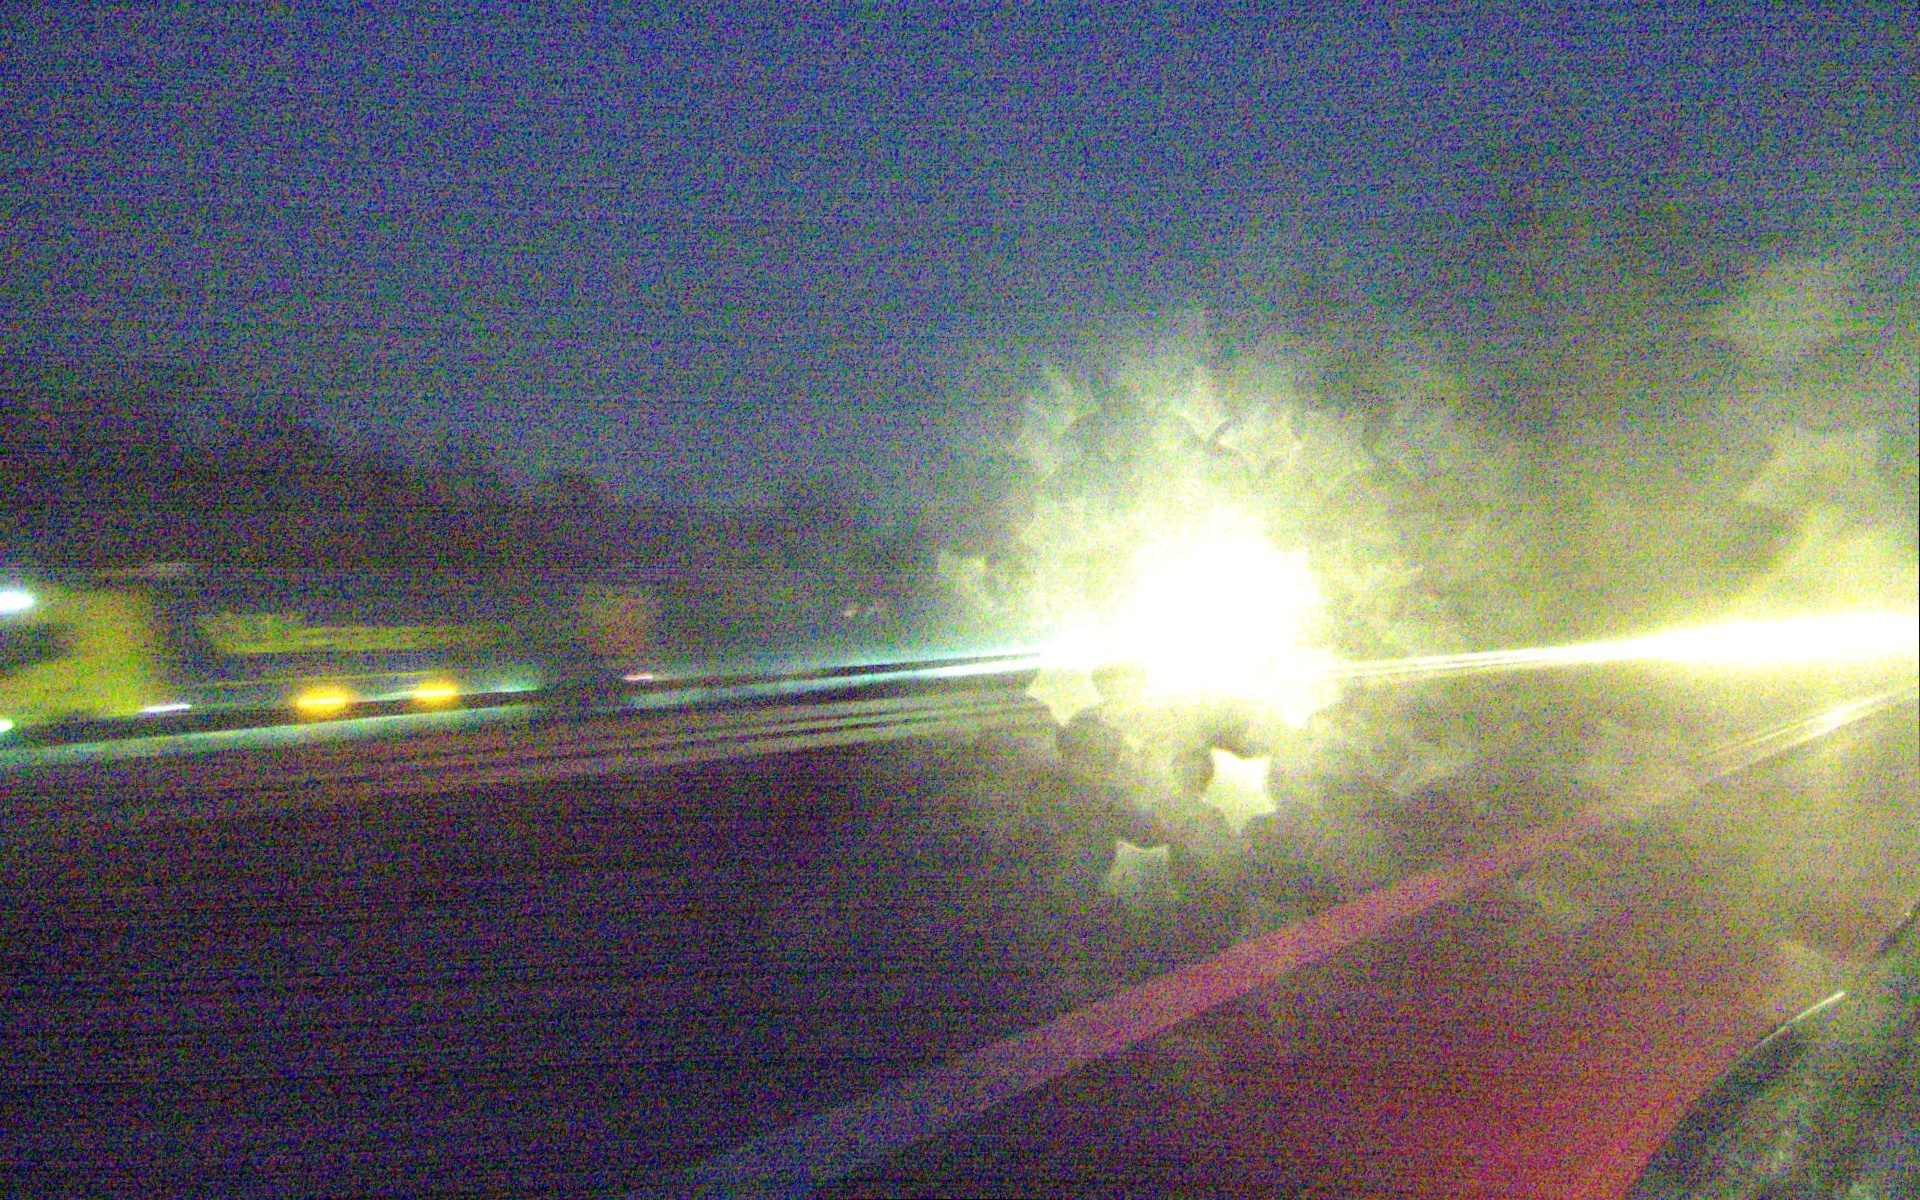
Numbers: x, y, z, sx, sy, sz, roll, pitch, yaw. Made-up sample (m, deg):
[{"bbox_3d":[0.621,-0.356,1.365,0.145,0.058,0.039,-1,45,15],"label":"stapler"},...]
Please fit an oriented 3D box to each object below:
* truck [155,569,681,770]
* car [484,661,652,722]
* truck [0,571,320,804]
[{"bbox_3d":[-13.845,1.313,28.419,2.743,4.275,13.688,0,1,29],"label":"truck"},{"bbox_3d":[-10.339,2.381,26.955,1.699,1.311,3.945,0,-1,31],"label":"car"},{"bbox_3d":[-17.632,1.547,21.596,2.743,4.275,6.133,0,1,29],"label":"truck"}]
